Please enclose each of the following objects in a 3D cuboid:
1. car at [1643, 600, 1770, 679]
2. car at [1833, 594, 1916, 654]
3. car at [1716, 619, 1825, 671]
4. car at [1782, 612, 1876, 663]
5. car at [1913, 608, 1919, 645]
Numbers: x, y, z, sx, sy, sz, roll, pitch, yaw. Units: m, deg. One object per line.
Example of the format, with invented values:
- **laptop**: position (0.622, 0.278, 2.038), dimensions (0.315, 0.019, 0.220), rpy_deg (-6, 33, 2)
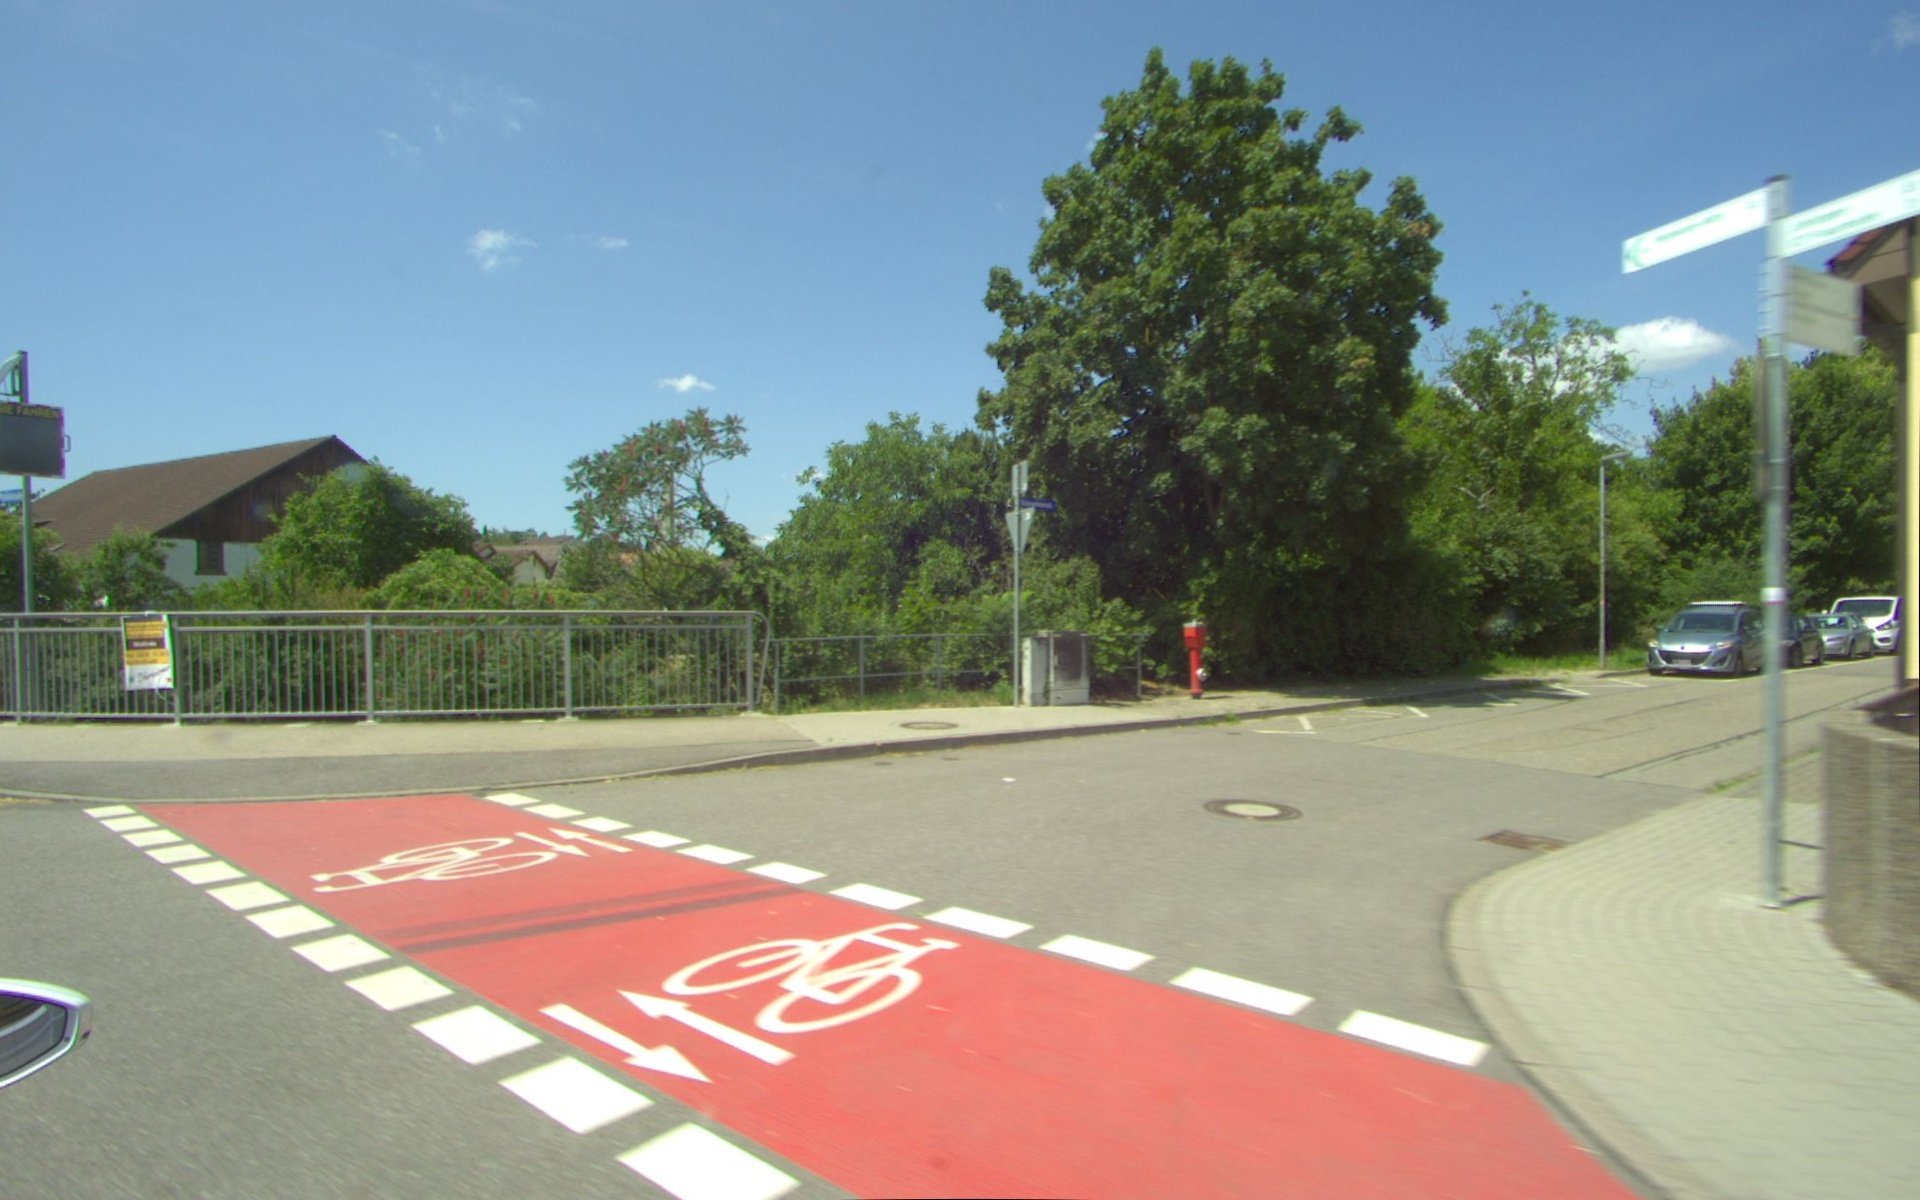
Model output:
- **car**: position (17.944, 0.903, 24.002), dimensions (4.218, 1.719, 1.808), rpy_deg (1, -1, -44)
- **car**: position (31.283, 0.804, 34.218), dimensions (3.959, 1.947, 1.808), rpy_deg (1, -1, -43)
- **car**: position (22.331, 1.186, 27.539), dimensions (3.959, 1.286, 1.808), rpy_deg (1, -1, -43)
- **car**: position (27.071, 1.120, 31.161), dimensions (3.959, 1.485, 1.808), rpy_deg (1, -1, -43)
- **car**: position (44.789, 1.189, 45.228), dimensions (3.953, 1.617, 1.984), rpy_deg (0, -1, -38)
